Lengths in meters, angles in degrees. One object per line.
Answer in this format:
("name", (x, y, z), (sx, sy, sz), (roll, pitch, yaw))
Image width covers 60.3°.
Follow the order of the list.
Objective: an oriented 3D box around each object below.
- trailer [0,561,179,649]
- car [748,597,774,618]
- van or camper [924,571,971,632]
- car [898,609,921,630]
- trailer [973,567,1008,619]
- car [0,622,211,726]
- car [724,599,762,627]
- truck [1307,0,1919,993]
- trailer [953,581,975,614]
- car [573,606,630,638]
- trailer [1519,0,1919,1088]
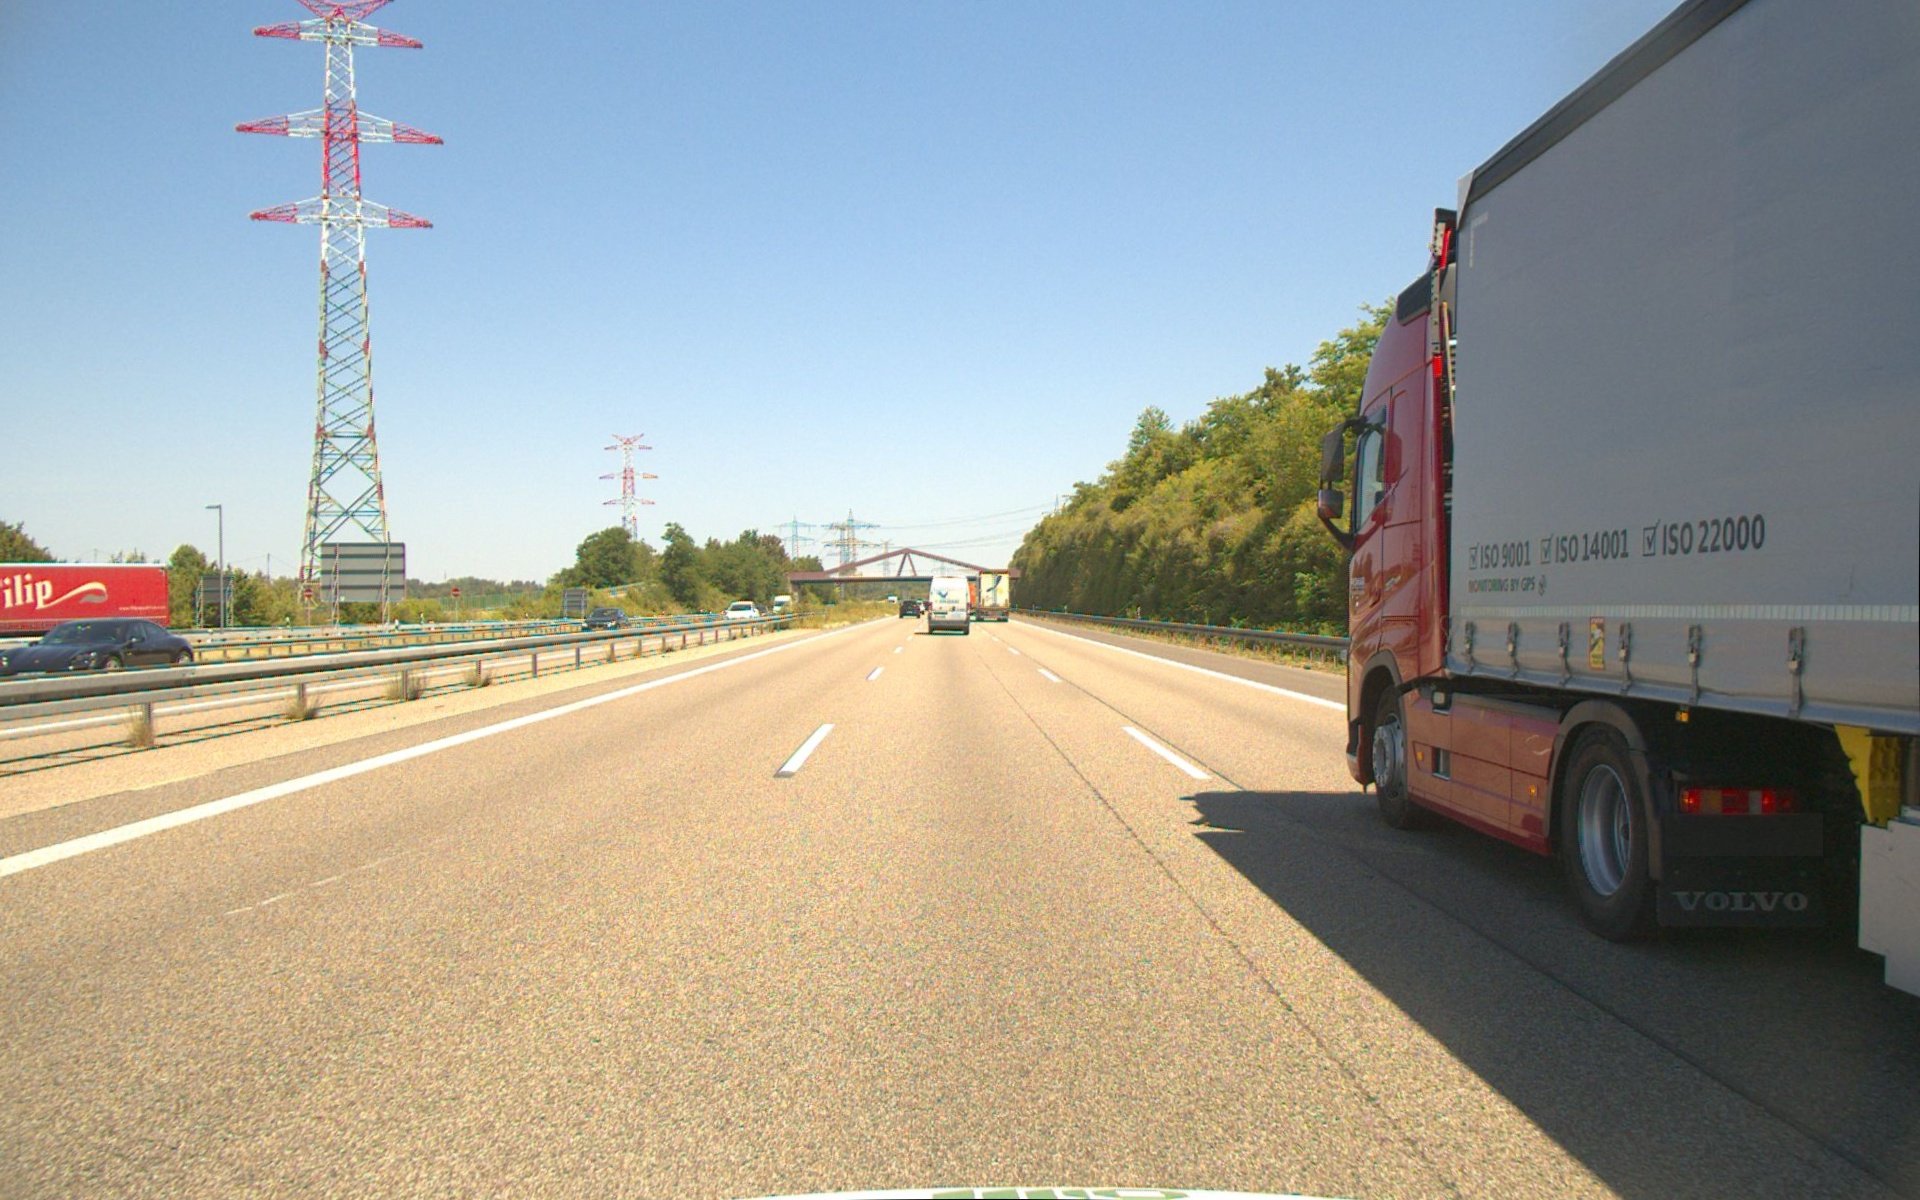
("trailer", (-44.650, 0.244, 81.387), (3.065, 4.126, 11.281), (1, 0, 33))
("car", (-18.424, 0.697, 153.265), (1.914, 1.842, 5.045), (1, 0, -2))
("van or camper", (-0.619, 0.071, 80.739), (2.185, 2.831, 5.422), (1, 0, -1))
("car", (-4.828, 1.862, 157.957), (1.941, 1.849, 3.813), (1, 0, 1))
("trailer", (2.510, -0.547, 140.013), (2.583, 4.131, 12.365), (1, 0, 0))
("car", (-16.054, 1.302, 30.862), (1.932, 1.675, 5.015), (1, 0, -1))
("car", (-13.167, 0.785, 100.527), (1.683, 1.556, 4.665), (-2, 0, -1))
("truck", (4.135, -0.472, 9.942), (2.448, 3.988, 7.095), (0, 0, -1))
("trailer", (0.462, -0.315, 204.607), (2.583, 3.965, 7.068), (1, 0, 0))
("car", (-17.578, 1.065, 81.314), (1.831, 1.422, 4.545), (-3, 0, -1))
("trailer", (4.320, -0.455, 1.607), (2.440, 3.978, 14.242), (0, 0, -1))
